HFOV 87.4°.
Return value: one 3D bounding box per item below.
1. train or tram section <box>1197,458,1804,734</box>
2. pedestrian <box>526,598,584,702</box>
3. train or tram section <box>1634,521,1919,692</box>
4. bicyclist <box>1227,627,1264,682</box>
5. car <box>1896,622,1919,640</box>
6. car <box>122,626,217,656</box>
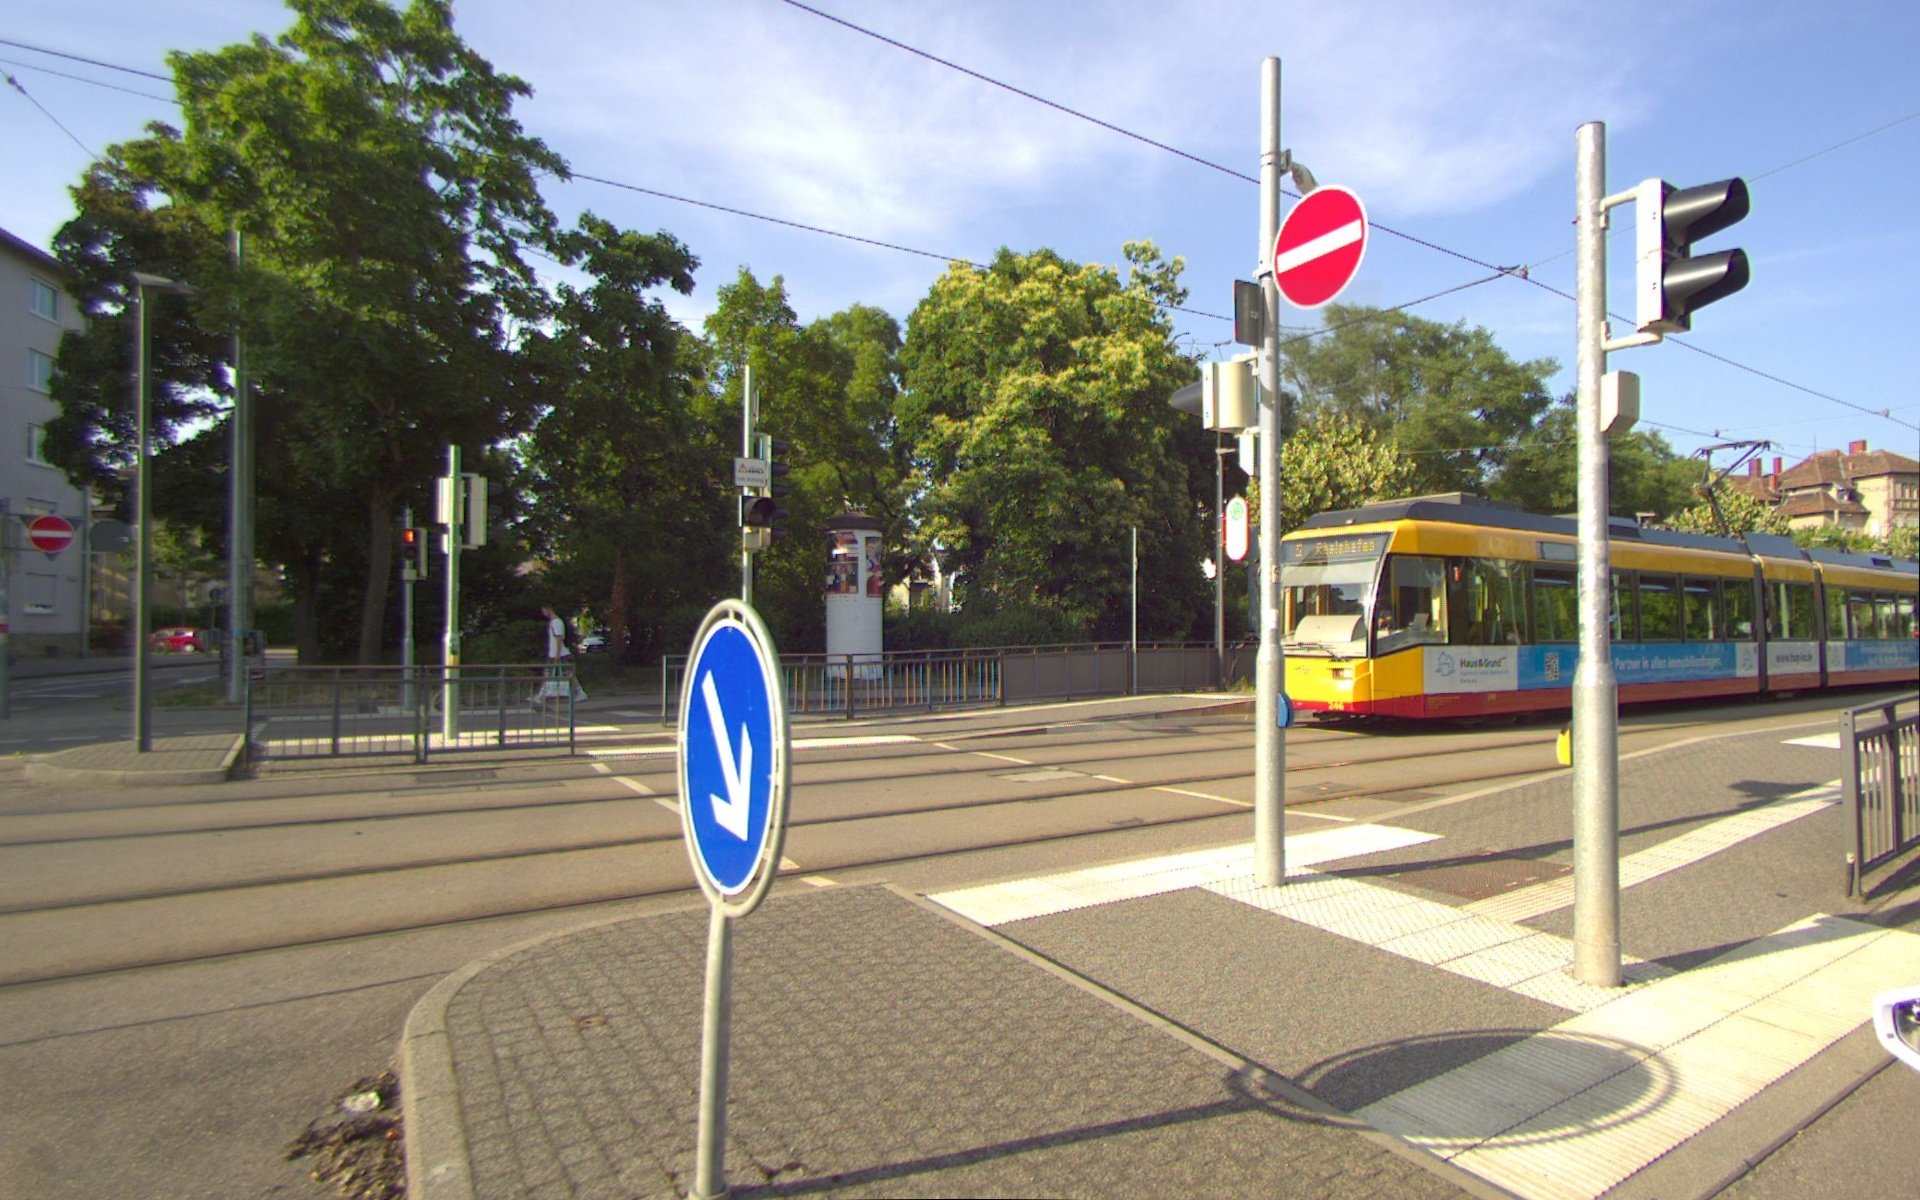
[{"bbox_3d":[10.531,0.048,18.115,14.375,3.526,3.144,1,-1,-33],"label":"train or tram section"},{"bbox_3d":[-7.814,0.942,19.371,0.992,1.935,0.704,0,0,45],"label":"pedestrian"},{"bbox_3d":[22.506,0.231,25.937,14.315,3.526,3.144,1,-1,-33],"label":"train or tram section"},{"bbox_3d":[7.682,1.451,26.989,0.709,1.432,0.647,1,0,-30],"label":"bicyclist"},{"bbox_3d":[86.776,2.775,89.793,4.632,1.649,2.207,1,-1,-10],"label":"car"},{"bbox_3d":[-47.052,2.427,59.854,3.932,1.666,1.995,1,-1,-14],"label":"car"}]
